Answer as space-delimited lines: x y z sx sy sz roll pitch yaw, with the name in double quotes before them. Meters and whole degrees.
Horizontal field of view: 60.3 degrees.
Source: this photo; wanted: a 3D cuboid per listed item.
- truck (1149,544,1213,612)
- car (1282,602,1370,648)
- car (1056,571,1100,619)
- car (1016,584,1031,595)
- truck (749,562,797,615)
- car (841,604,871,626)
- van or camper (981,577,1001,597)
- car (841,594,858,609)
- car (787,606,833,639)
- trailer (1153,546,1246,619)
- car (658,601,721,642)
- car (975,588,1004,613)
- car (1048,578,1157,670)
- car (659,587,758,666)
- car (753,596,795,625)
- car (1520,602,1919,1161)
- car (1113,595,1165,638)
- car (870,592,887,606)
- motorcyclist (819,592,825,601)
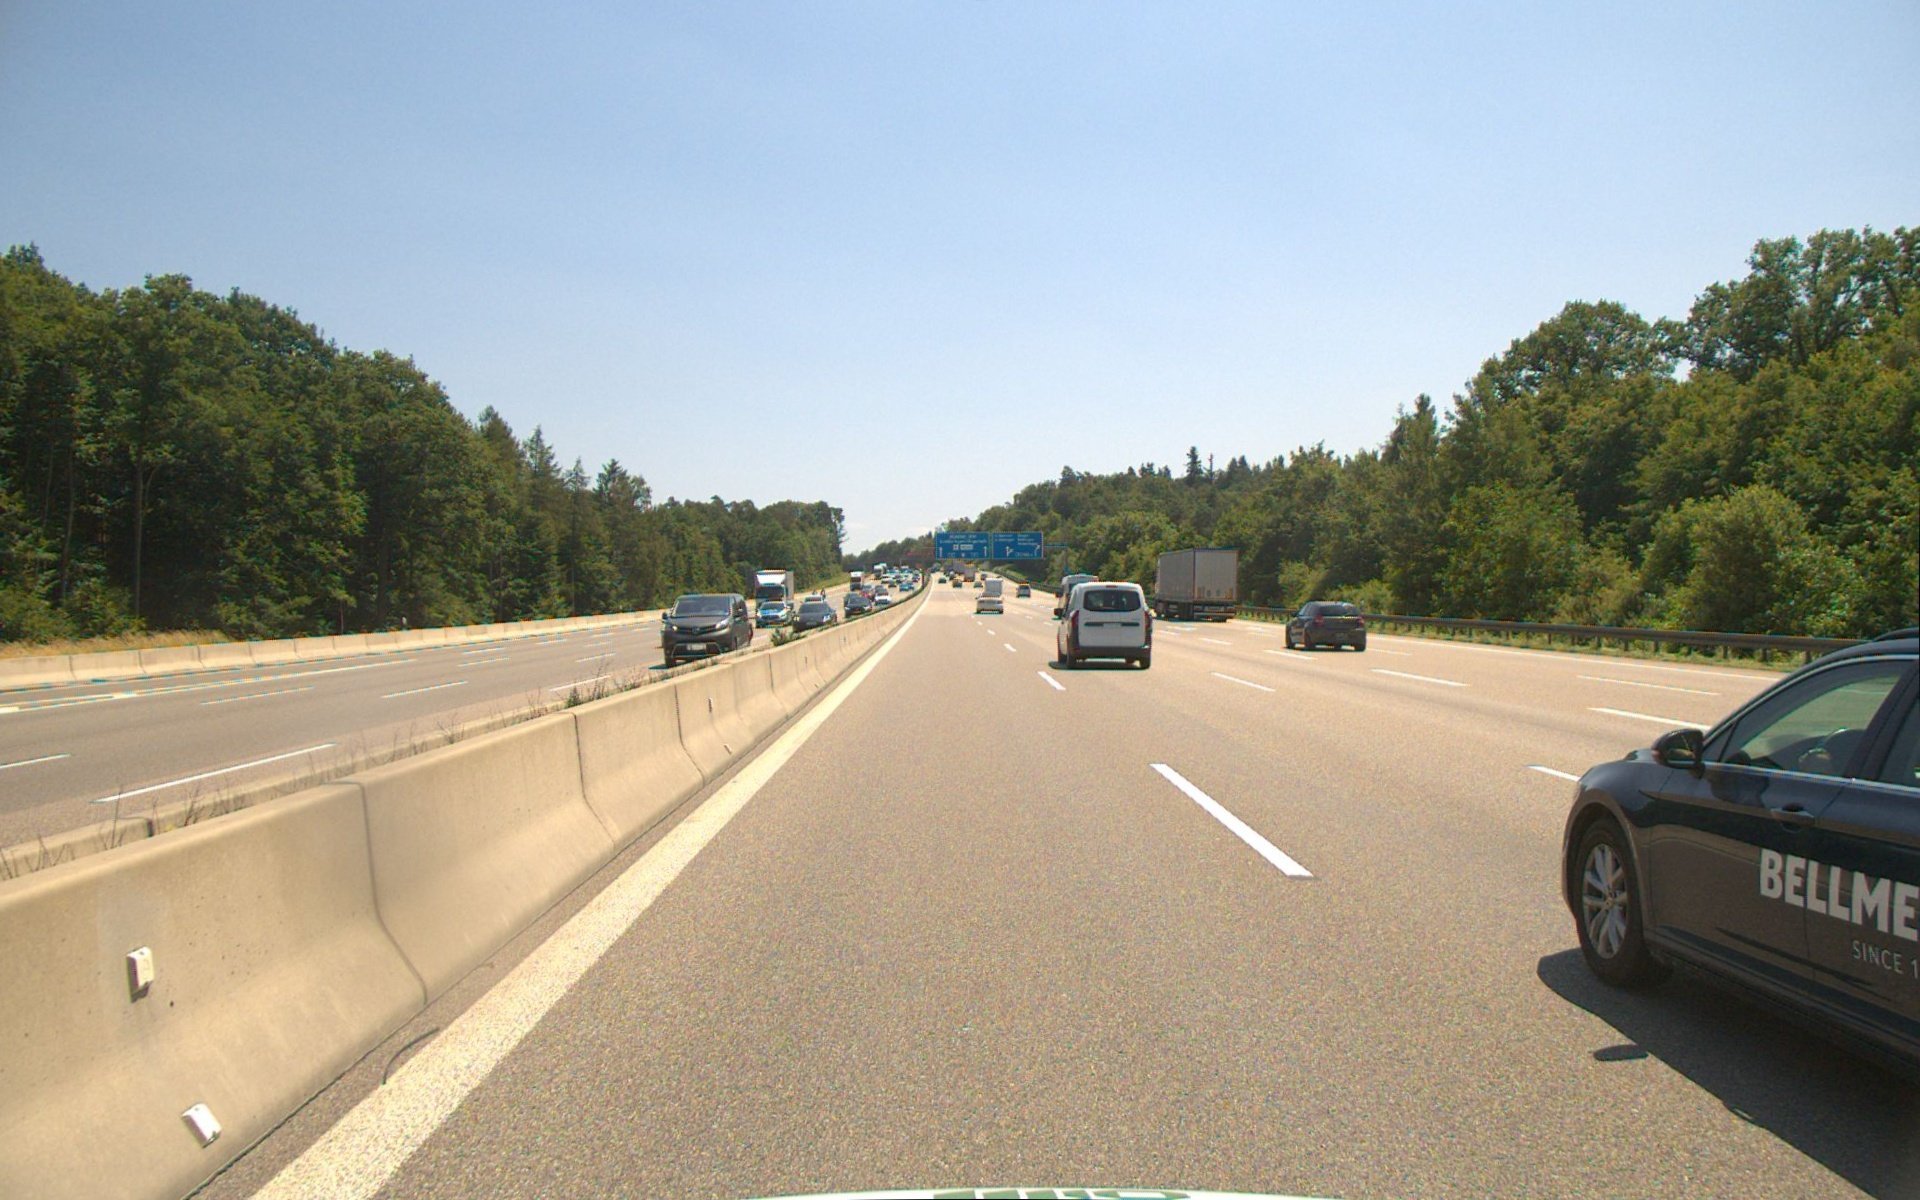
"truck" 14.035 -1.419 105.452 3.188 4.178 5.987 0 1 -1
"car" 10.777 0.715 48.959 1.636 1.296 4.289 0 0 -1
"car" 6.913 -0.344 97.329 2.100 2.698 5.709 0 1 -1
"car" 8.543 -1.368 222.593 1.798 1.361 3.642 -2 0 -1
"truck" -14.970 -0.903 132.960 2.800 4.083 9.466 -1 0 -1
"car" -7.352 1.047 116.908 1.874 1.490 4.362 -1 0 -1
"van or camper" 4.255 -1.811 229.733 2.591 2.583 6.501 -1 0 -1
"car" -11.752 0.134 176.207 1.668 1.452 4.612 -2 0 -2
"car" -7.289 1.090 80.622 1.874 1.490 4.586 -1 0 -1
"trailer" 14.159 -1.101 98.951 3.221 3.999 13.888 1 1 -1
"car" -10.549 0.825 64.723 1.725 1.489 4.838 -1 0 -1
"car" 2.041 0.032 115.496 1.805 1.657 4.553 -2 0 -1
"car" 3.085 0.489 36.568 1.822 1.857 4.610 -2 0 -2
"car" -6.803 0.670 45.318 1.859 1.987 5.655 -2 0 -1
"car" -10.787 0.582 96.168 1.874 1.538 5.231 -2 0 -1
"car" 3.424 0.765 5.136 1.694 1.472 4.961 0 0 0
"car" 6.776 0.617 63.009 1.473 1.526 3.649 -2 0 -1
"car" -8.732 -0.089 177.274 1.788 1.419 4.463 -2 0 -2
"motorcyclist" -20.408 -0.497 244.551 0.745 1.324 1.077 -2 1 -1
